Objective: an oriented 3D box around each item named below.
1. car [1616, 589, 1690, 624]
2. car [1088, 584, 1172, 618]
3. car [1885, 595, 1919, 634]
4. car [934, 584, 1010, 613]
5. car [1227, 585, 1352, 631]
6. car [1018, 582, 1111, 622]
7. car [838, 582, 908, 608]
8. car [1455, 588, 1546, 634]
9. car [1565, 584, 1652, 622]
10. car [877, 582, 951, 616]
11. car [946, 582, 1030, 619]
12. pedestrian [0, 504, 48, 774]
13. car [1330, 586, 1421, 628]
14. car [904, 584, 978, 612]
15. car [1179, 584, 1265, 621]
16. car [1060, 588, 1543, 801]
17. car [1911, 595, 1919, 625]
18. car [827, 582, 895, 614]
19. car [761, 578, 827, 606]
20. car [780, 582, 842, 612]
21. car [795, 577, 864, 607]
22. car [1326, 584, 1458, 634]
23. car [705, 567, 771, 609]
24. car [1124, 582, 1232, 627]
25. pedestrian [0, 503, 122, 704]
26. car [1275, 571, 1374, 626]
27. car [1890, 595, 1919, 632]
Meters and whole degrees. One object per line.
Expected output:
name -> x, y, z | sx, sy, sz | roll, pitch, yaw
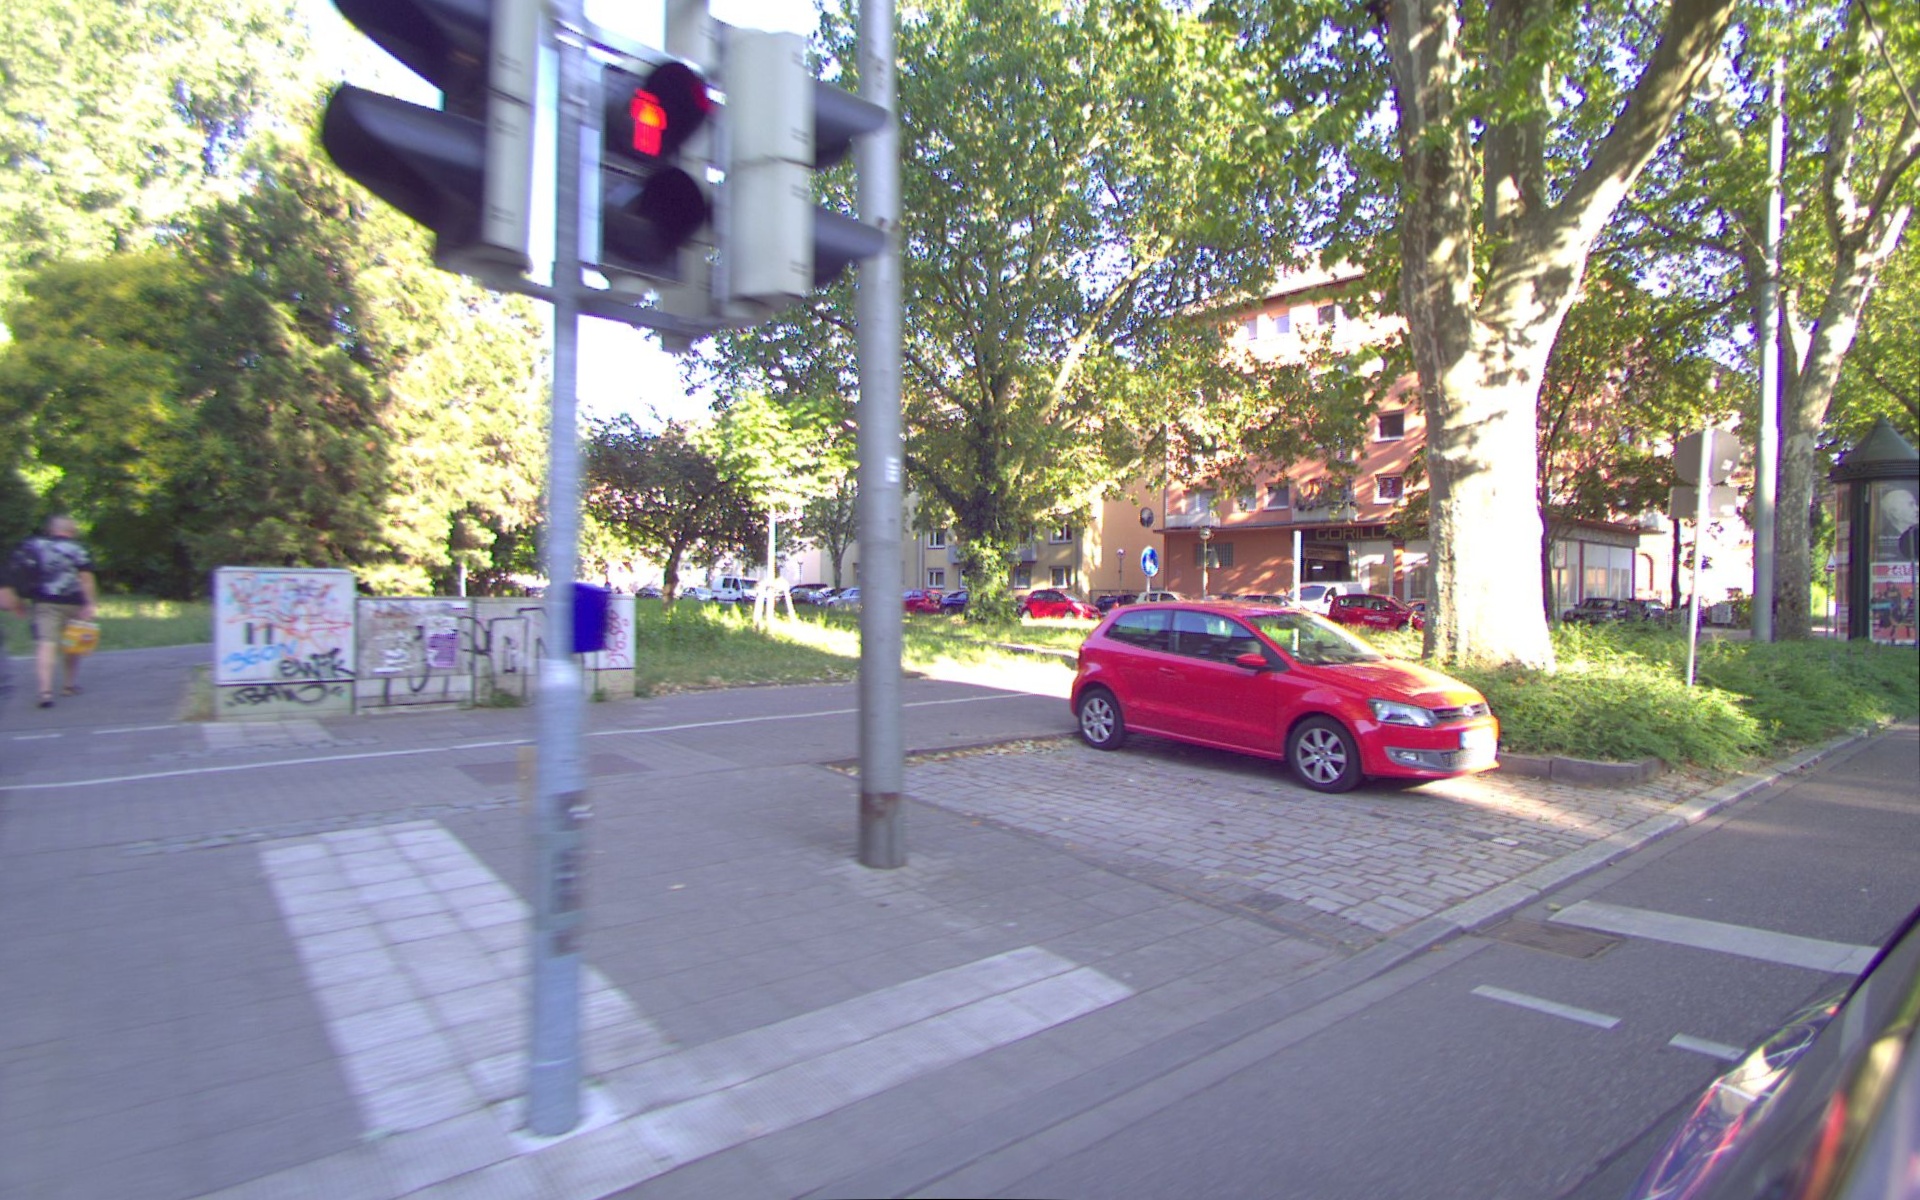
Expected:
car -> 31.097, 0.270, 45.397 | 3.880, 1.452, 1.752 | 0, 1, -40
car -> 8.565, 0.050, 50.770 | 4.502, 1.594, 1.791 | 0, 1, -44
car -> 40.305, 0.625, 40.591 | 1.782, 1.562, 4.420 | 0, 1, -32
car -> 0.740, -0.084, 59.636 | 4.502, 1.594, 1.791 | 0, 1, -44
car -> 11.639, 0.256, 35.902 | 1.654, 1.470, 3.924 | 0, 1, -41
car -> 4.471, 0.068, 43.841 | 1.654, 1.601, 3.924 | 0, 1, -41
car -> -5.712, -0.323, 66.852 | 4.502, 1.594, 1.791 | 0, 1, -44
car -> 20.214, 0.379, 37.759 | 1.790, 1.594, 4.504 | 2, 1, 44
car -> 26.584, 0.114, 41.419 | 4.388, 1.452, 1.752 | 0, 1, -40
car -> -2.365, -0.085, 51.302 | 1.654, 1.601, 3.924 | 0, 1, -41
car -> 1.262, -0.018, 47.182 | 1.654, 1.601, 3.924 | 0, 1, -41
pedestrian -> -7.006, 0.254, 7.098 | 0.850, 1.834, 0.995 | 1, 1, -45
car -> 17.052, 0.258, 41.480 | 4.502, 1.594, 1.791 | 0, 1, -44
car -> -1.118, -0.114, 61.567 | 4.502, 1.594, 1.791 | 0, 1, -44
car -> 12.183, 0.110, 46.894 | 4.502, 1.594, 1.791 | 0, 1, -44
car -> 2.806, 0.637, 9.089 | 1.617, 1.441, 3.897 | 0, 1, -36
car -> 51.301, 0.556, 51.333 | 1.784, 1.575, 4.212 | 0, 1, -37
car -> -5.355, -0.137, 54.493 | 1.654, 1.601, 3.924 | 0, 1, -41
car -> -12.002, -0.587, 73.401 | 4.502, 1.931, 1.791 | 0, 1, -44
car -> -8.669, -0.194, 58.628 | 1.654, 1.601, 3.924 | 0, 1, -41
car -> -8.961, -0.539, 69.714 | 4.502, 1.931, 1.791 | 0, 1, -44
car -> 13.904, 0.249, 32.686 | 1.654, 1.470, 3.543 | 0, 1, -41
car -> -14.228, -0.791, 64.727 | 1.942, 2.594, 5.037 | 1, 1, -41
car -> 8.467, 0.136, 39.515 | 1.654, 1.601, 3.924 | 0, 1, -41
pedestrian -> -9.107, 0.002, 10.131 | 0.999, 1.886, 0.983 | 0, 4, -45
car -> 15.551, -0.081, 43.052 | 4.999, 2.211, 1.914 | 0, 1, -43
car -> 42.124, 0.616, 42.360 | 1.915, 1.562, 4.416 | 0, 1, -37
